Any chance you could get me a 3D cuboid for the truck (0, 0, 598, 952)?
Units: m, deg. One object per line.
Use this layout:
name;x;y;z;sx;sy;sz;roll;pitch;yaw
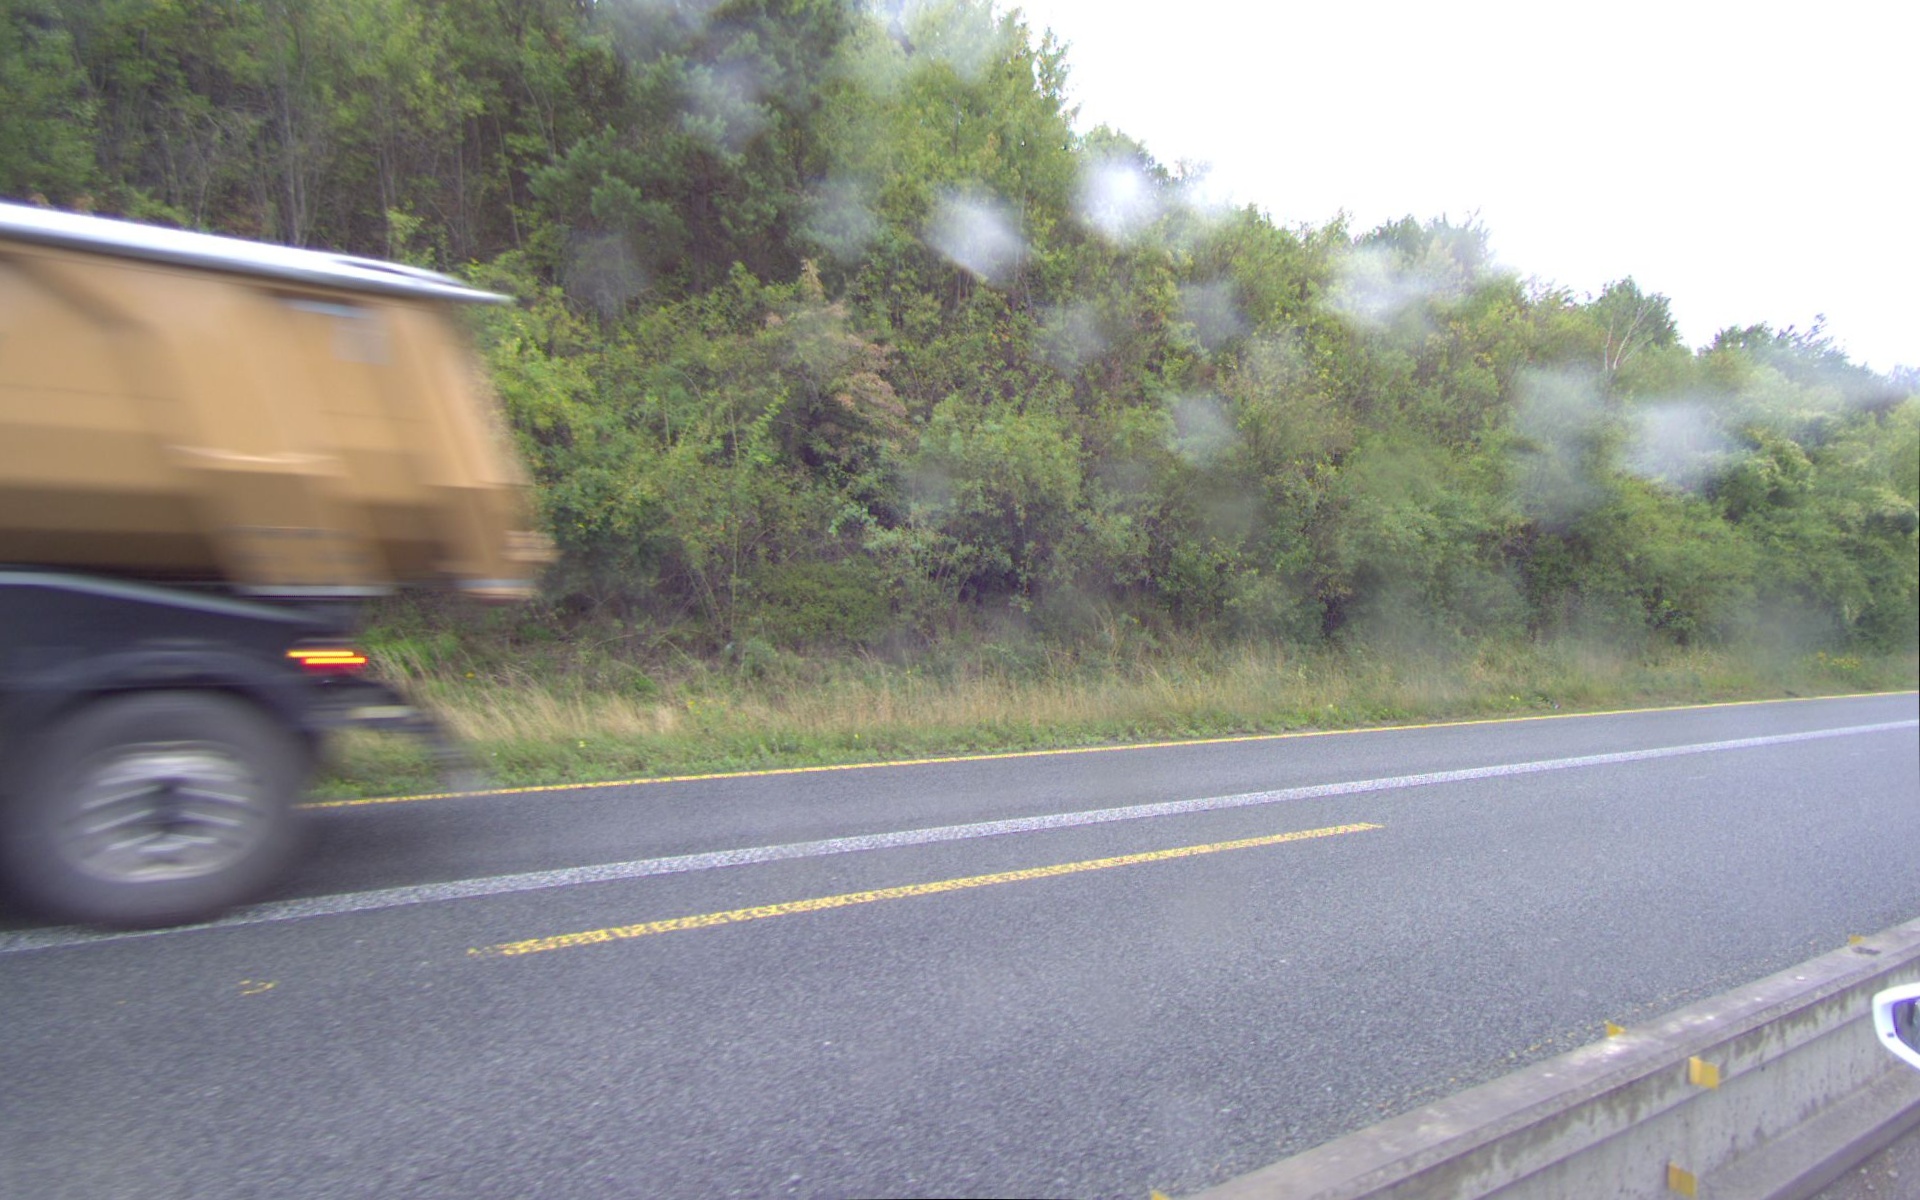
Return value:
truck;-7.731;-0.614;3.039;12.167;3.705;2.668;2;0;-30
